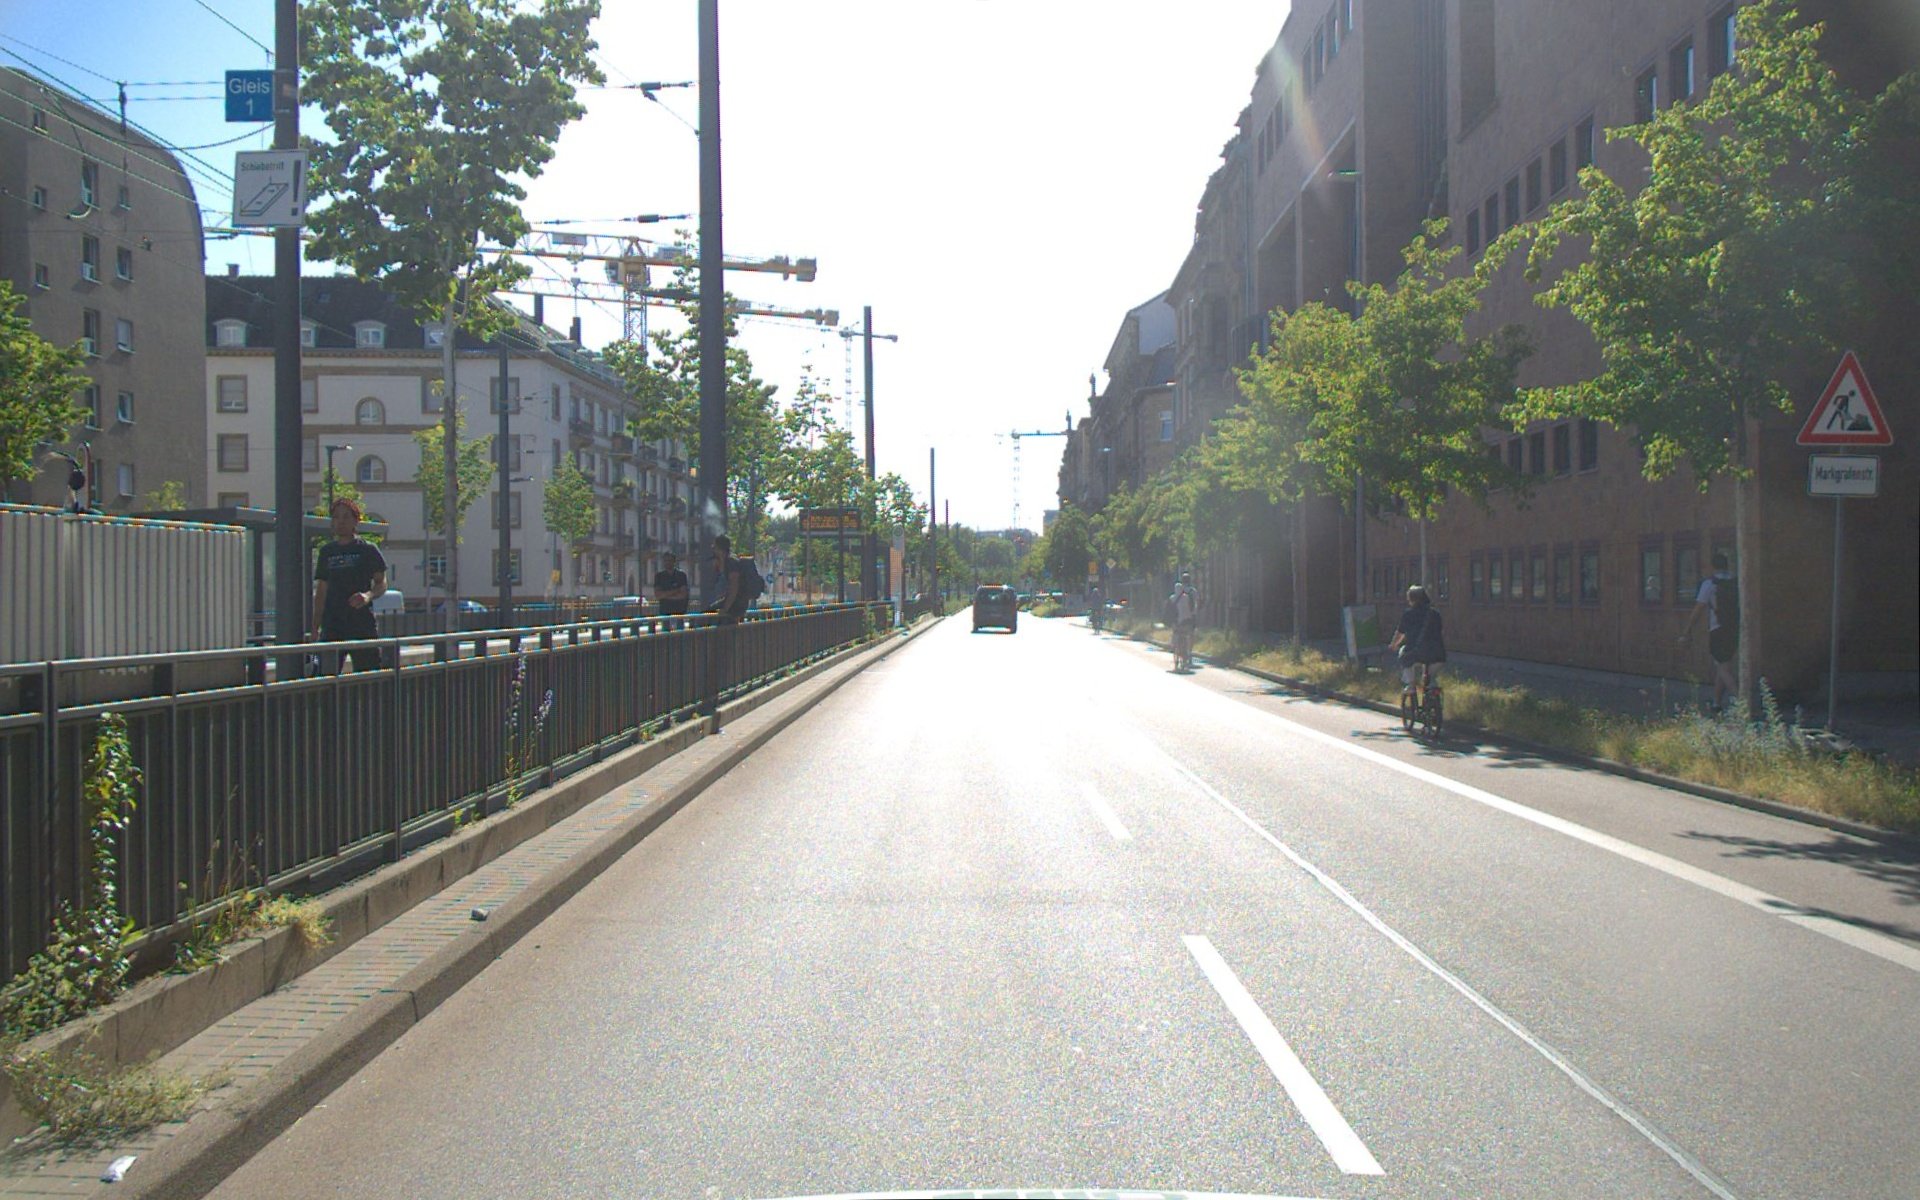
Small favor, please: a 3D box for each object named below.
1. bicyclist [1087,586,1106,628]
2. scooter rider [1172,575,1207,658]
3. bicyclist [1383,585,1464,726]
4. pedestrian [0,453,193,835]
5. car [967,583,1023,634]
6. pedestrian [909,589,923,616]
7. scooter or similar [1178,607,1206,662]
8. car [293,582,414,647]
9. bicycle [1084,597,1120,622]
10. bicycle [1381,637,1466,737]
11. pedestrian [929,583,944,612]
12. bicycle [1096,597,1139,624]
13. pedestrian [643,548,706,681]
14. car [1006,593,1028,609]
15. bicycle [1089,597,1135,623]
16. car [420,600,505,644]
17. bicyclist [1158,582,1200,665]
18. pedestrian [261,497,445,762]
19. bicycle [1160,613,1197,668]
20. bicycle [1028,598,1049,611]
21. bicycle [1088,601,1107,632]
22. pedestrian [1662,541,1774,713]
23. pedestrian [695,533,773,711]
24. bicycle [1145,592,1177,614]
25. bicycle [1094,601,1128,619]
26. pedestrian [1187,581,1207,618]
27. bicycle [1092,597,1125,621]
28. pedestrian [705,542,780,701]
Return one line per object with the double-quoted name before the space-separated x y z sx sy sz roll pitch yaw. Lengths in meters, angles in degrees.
"bicyclist" 5.572 0.269 67.338 0.670 1.702 0.922 1 0 0
"scooter rider" 5.349 0.369 38.540 0.652 1.893 0.901 1 0 0
"bicyclist" 5.306 0.614 18.969 0.644 1.564 0.909 1 0 0
"pedestrian" -4.485 0.214 8.449 0.739 1.842 0.839 -1 0 -3
"car" 1.378 0.320 66.515 2.155 1.960 4.654 -1 0 1
"pedestrian" -2.569 0.124 96.425 0.796 1.563 0.798 0 0 2
"scooter or similar" 5.386 0.792 38.429 0.480 1.248 1.170 1 0 0
"car" -23.608 0.514 64.672 1.951 2.411 5.650 0 0 8
"bicycle" 6.987 0.455 81.537 1.687 1.120 0.607 -3 0 4
"bicycle" 5.311 0.978 19.007 0.546 1.045 1.507 1 0 0
"pedestrian" -1.469 -0.164 102.566 0.848 1.819 0.970 0 0 -5
"bicycle" 7.494 0.479 78.664 1.954 1.148 0.710 -3 0 2
"pedestrian" -3.849 0.198 22.350 0.694 1.753 0.752 -1 0 -1
"car" 5.691 0.084 165.633 1.986 1.525 4.654 -1 0 1
"bicycle" 7.083 0.470 77.296 1.958 1.111 0.845 -3 0 -9
"car" -17.940 0.786 59.765 1.840 1.490 4.000 1 0 0
"bicyclist" 4.709 0.502 35.586 0.763 1.741 0.868 1 0 0
"pedestrian" -4.428 0.206 12.145 0.971 1.842 1.022 -1 0 -3
"bicycle" 4.686 0.851 35.521 0.546 1.111 1.792 1 0 0
"bicycle" 6.754 0.406 142.059 1.755 1.048 0.527 -1 0 0
"bicycle" 5.571 0.673 67.063 0.589 1.201 1.869 1 0 0
"pedestrian" 8.779 0.301 19.192 0.772 1.916 1.106 -1 0 0
"pedestrian" -2.494 0.240 18.308 0.730 1.917 0.715 -1 0 0
"bicycle" 11.635 0.194 95.844 1.779 1.191 0.655 -1 3 5
"bicycle" 7.574 0.486 83.008 1.634 0.835 0.607 -2 0 7
"pedestrian" 10.157 -0.025 70.798 0.694 1.569 0.927 -1 0 0
"bicycle" 7.181 0.446 79.979 1.566 1.063 0.607 -3 0 4
"pedestrian" -2.489 0.245 19.014 0.730 1.779 0.715 -1 0 0
